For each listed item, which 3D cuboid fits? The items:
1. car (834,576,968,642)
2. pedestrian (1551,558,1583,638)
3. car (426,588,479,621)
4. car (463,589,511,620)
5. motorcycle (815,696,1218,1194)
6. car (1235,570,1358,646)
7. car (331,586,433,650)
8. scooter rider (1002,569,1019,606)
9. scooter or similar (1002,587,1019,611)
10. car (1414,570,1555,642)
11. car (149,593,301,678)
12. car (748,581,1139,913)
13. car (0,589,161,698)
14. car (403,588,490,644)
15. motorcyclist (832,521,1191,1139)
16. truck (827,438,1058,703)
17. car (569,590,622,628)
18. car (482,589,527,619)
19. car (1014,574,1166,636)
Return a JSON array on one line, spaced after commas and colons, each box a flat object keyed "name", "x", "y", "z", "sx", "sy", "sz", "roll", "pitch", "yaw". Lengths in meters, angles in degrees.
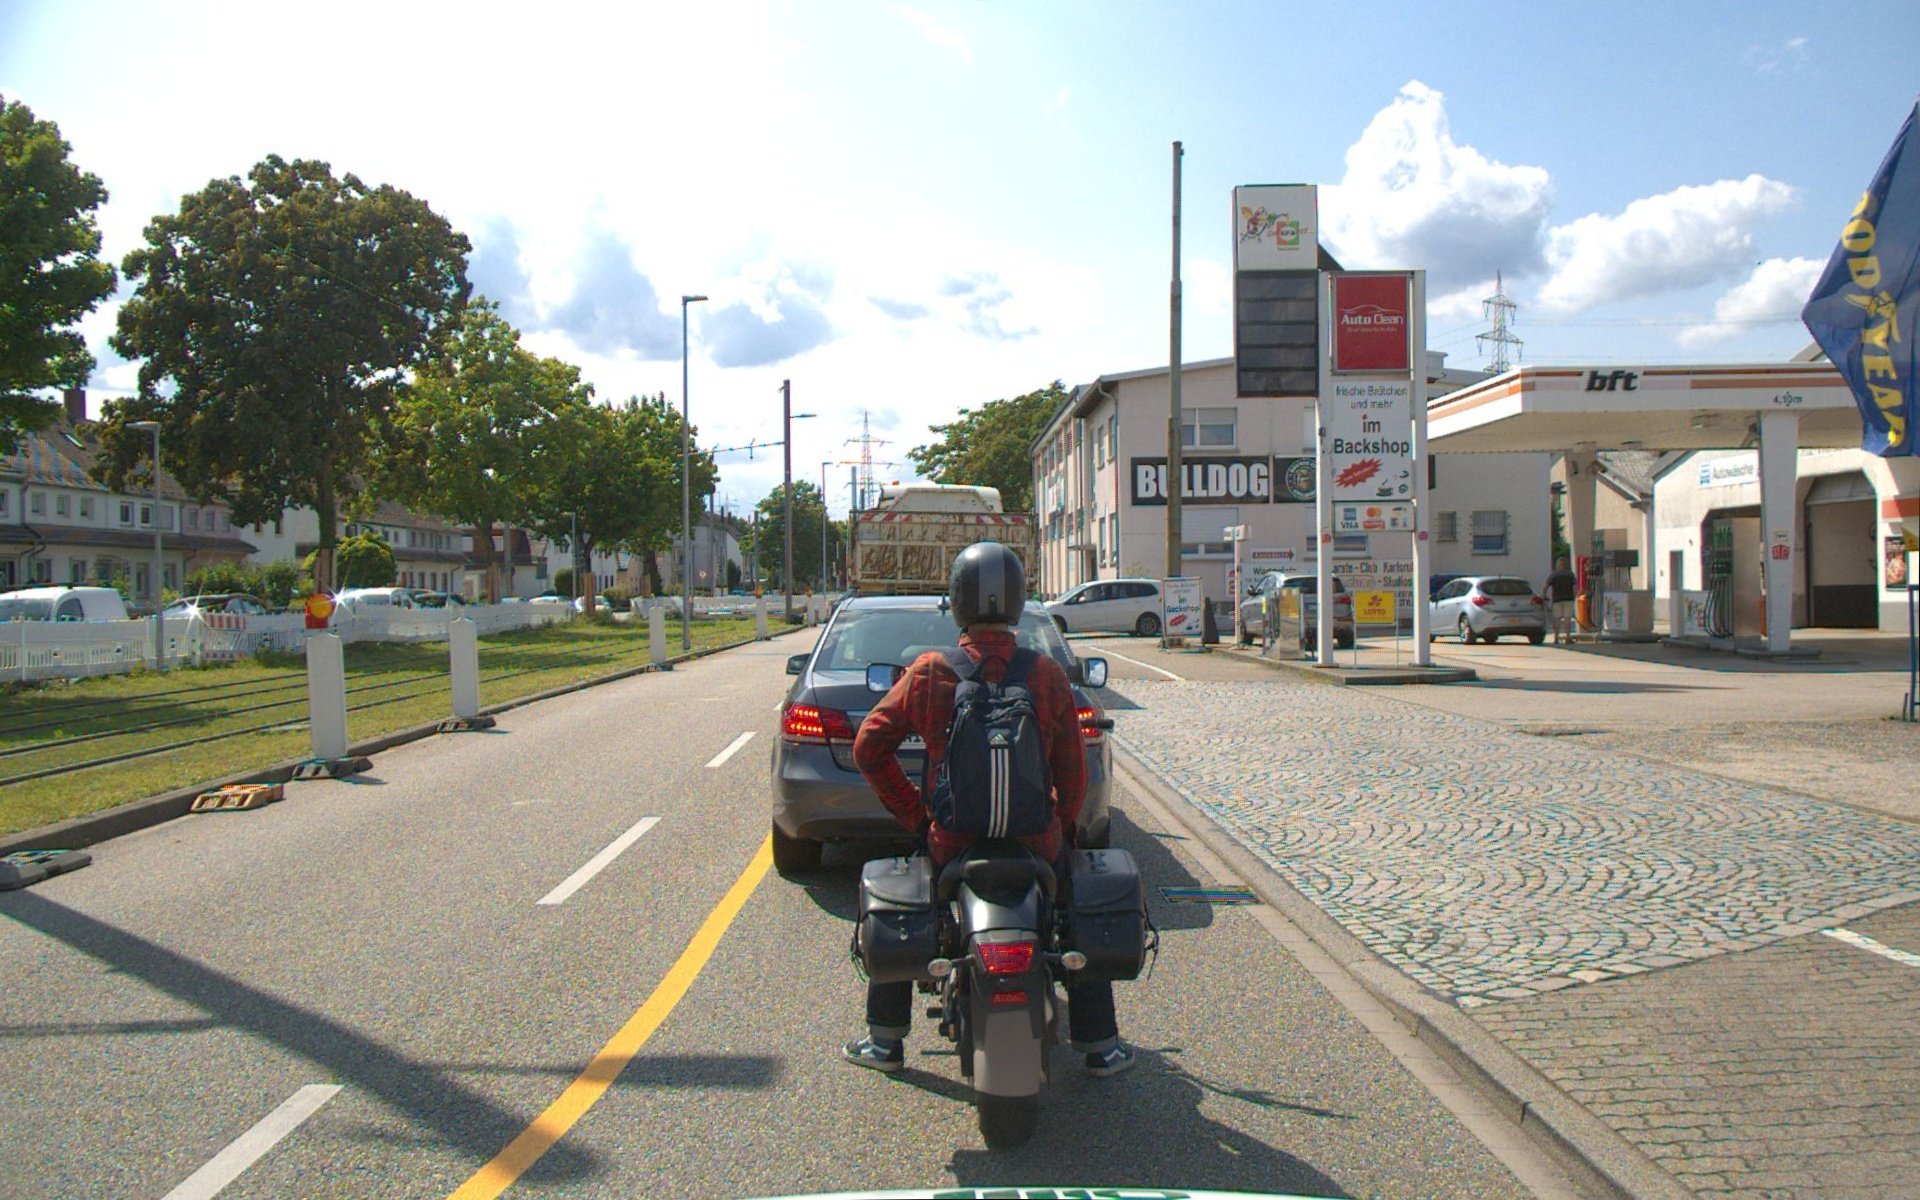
[{"name": "car", "x": -1.634, "y": 0.238, "z": 44.127, "sx": 1.666, "sy": 1.652, "sz": 4.069, "roll": -1, "pitch": 1, "yaw": -34}, {"name": "pedestrian", "x": 13.137, "y": -0.046, "z": 35.793, "sx": 0.621, "sy": 1.712, "sz": 0.622, "roll": -1, "pitch": 0, "yaw": 20}, {"name": "car", "x": -28.178, "y": 0.241, "z": 91.938, "sx": 1.664, "sy": 1.770, "sz": 4.061, "roll": -1, "pitch": 0, "yaw": -1}, {"name": "car", "x": -28.058, "y": 0.255, "z": 98.148, "sx": 1.664, "sy": 1.770, "sz": 4.061, "roll": -1, "pitch": 0, "yaw": -1}, {"name": "motorcycle", "x": 0.119, "y": 0.903, "z": 5.196, "sx": 0.956, "sy": 1.031, "sz": 2.431, "roll": 1, "pitch": 0, "yaw": -1}, {"name": "car", "x": 7.404, "y": 0.144, "z": 36.756, "sx": 1.795, "sy": 1.562, "sz": 4.008, "roll": -1, "pitch": 0, "yaw": -2}, {"name": "car", "x": -16.931, "y": 0.493, "z": 48.617, "sx": 1.664, "sy": 1.770, "sz": 3.860, "roll": -1, "pitch": 0, "yaw": -1}, {"name": "scooter rider", "x": 2.560, "y": -0.622, "z": 83.854, "sx": 0.779, "sy": 1.850, "sz": 0.508, "roll": -1, "pitch": 0, "yaw": -1}, {"name": "scooter or similar", "x": 2.574, "y": -0.052, "z": 83.802, "sx": 0.779, "sy": 1.165, "sz": 1.519, "roll": -1, "pitch": 0, "yaw": -1}, {"name": "car", "x": 11.775, "y": 0.103, "z": 37.421, "sx": 1.795, "sy": 1.505, "sz": 4.008, "roll": -1, "pitch": 0, "yaw": -2}, {"name": "car", "x": -16.670, "y": 0.758, "z": 37.720, "sx": 1.664, "sy": 1.770, "sz": 4.053, "roll": -1, "pitch": 0, "yaw": -1}, {"name": "car", "x": -0.135, "y": 0.665, "z": 9.729, "sx": 1.795, "sy": 1.505, "sz": 4.008, "roll": -1, "pitch": 0, "yaw": -2}, {"name": "car", "x": -16.415, "y": 0.744, "z": 30.296, "sx": 1.664, "sy": 1.849, "sz": 3.860, "roll": -1, "pitch": 0, "yaw": -1}, {"name": "car", "x": -17.017, "y": 0.496, "z": 54.983, "sx": 1.664, "sy": 1.770, "sz": 3.860, "roll": -1, "pitch": 0, "yaw": -1}, {"name": "motorcyclist", "x": 0.131, "y": 0.620, "z": 5.078, "sx": 0.950, "sy": 1.662, "sz": 1.214, "roll": 1, "pitch": 0, "yaw": -1}, {"name": "truck", "x": -0.354, "y": -0.420, "z": 25.471, "sx": 2.910, "sy": 3.362, "sz": 8.404, "roll": -1, "pitch": 0, "yaw": -2}, {"name": "car", "x": -17.432, "y": 0.406, "z": 79.218, "sx": 1.664, "sy": 1.770, "sz": 3.860, "roll": -1, "pitch": 0, "yaw": -1}, {"name": "car", "x": -28.661, "y": 0.226, "z": 104.150, "sx": 1.664, "sy": 1.770, "sz": 4.061, "roll": -1, "pitch": 0, "yaw": -1}, {"name": "car", "x": 3.673, "y": 0.118, "z": 47.086, "sx": 4.029, "sy": 1.652, "sz": 1.682, "roll": -1, "pitch": 0, "yaw": -9}]
